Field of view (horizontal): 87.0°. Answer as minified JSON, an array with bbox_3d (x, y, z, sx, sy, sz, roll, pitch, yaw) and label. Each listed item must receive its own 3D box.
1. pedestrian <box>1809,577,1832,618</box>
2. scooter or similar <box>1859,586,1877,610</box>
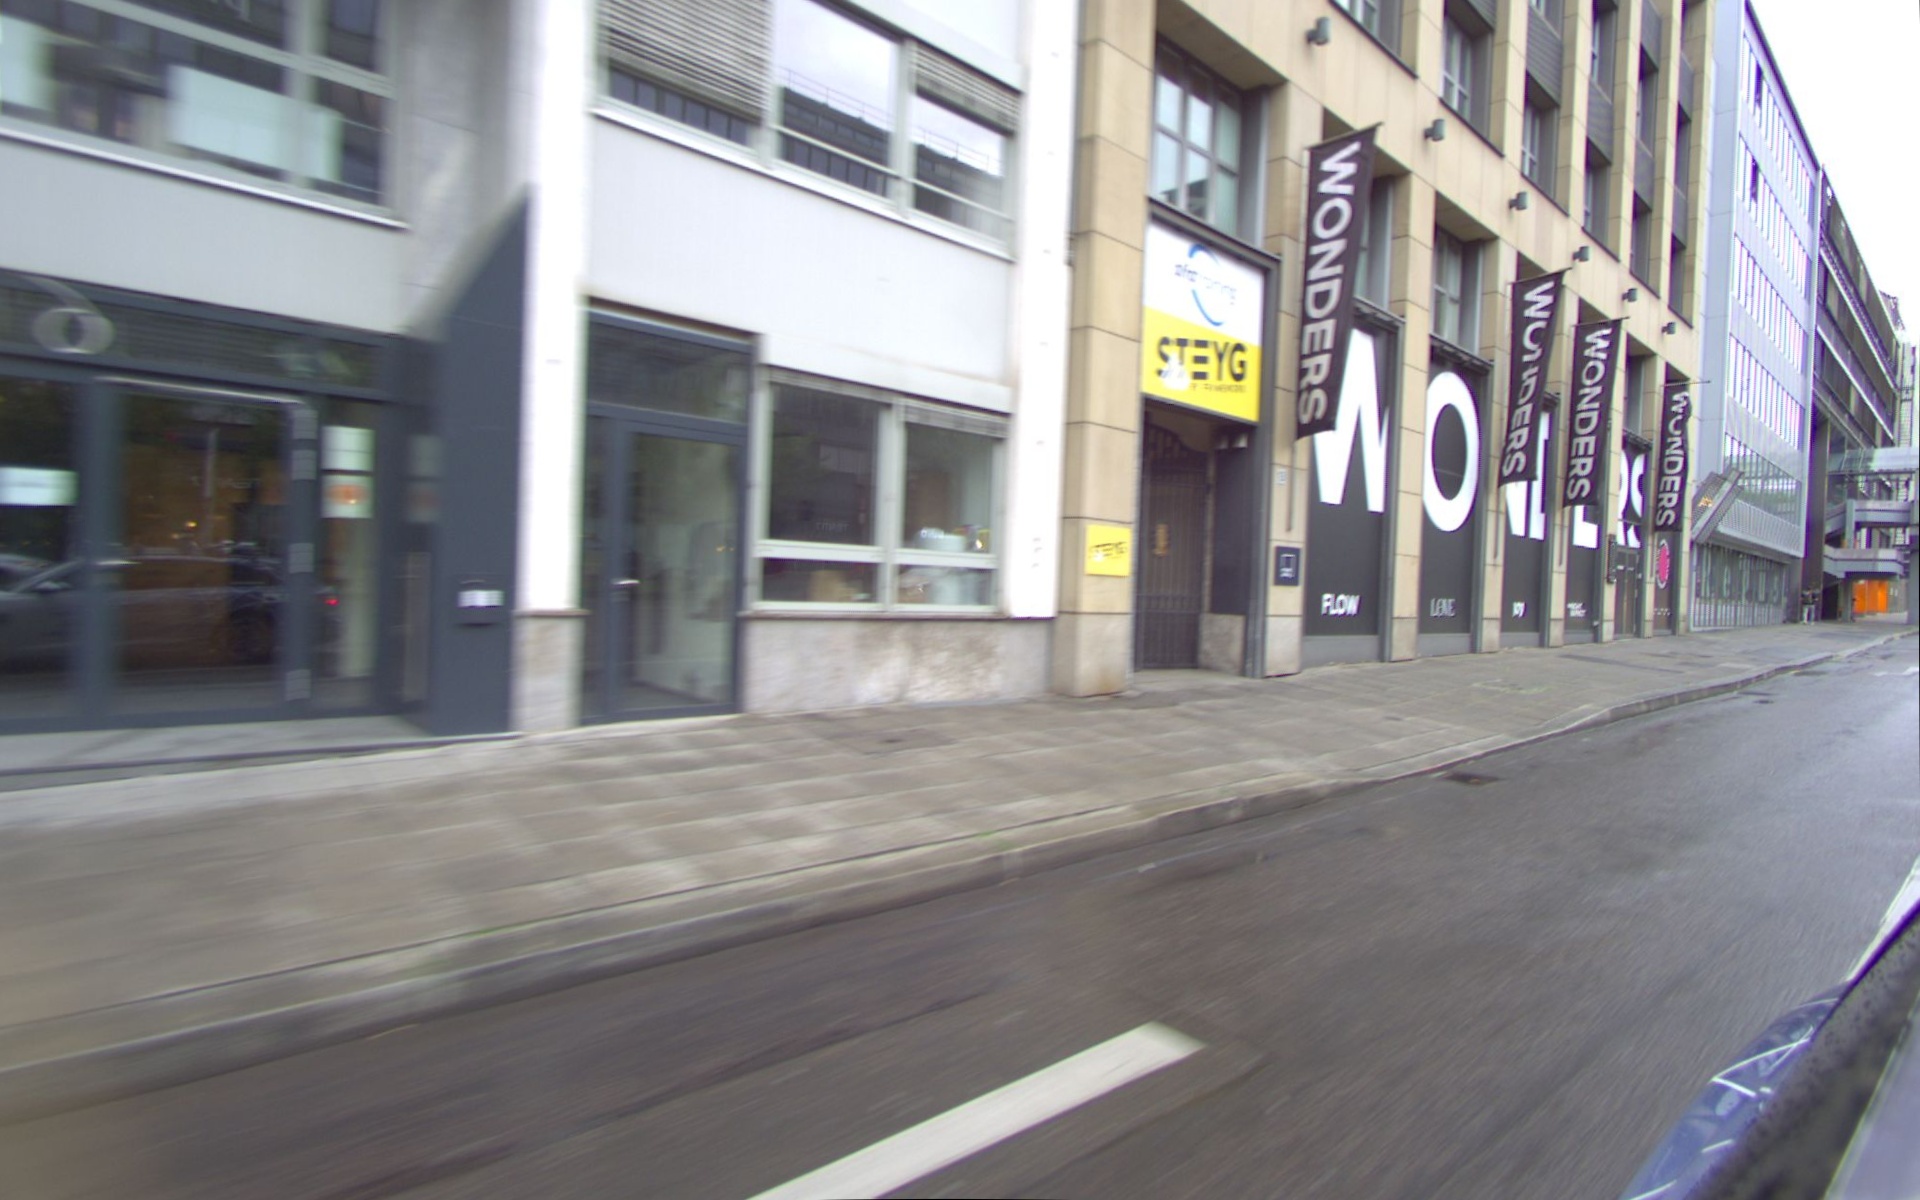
[{"bbox_3d":[39.079,-0.131,45.957,0.752,1.855,0.728,-1,1,-43],"label":"pedestrian"},{"bbox_3d":[48.543,-0.103,54.118,0.468,1.289,1.294,1,1,30],"label":"scooter or similar"}]
